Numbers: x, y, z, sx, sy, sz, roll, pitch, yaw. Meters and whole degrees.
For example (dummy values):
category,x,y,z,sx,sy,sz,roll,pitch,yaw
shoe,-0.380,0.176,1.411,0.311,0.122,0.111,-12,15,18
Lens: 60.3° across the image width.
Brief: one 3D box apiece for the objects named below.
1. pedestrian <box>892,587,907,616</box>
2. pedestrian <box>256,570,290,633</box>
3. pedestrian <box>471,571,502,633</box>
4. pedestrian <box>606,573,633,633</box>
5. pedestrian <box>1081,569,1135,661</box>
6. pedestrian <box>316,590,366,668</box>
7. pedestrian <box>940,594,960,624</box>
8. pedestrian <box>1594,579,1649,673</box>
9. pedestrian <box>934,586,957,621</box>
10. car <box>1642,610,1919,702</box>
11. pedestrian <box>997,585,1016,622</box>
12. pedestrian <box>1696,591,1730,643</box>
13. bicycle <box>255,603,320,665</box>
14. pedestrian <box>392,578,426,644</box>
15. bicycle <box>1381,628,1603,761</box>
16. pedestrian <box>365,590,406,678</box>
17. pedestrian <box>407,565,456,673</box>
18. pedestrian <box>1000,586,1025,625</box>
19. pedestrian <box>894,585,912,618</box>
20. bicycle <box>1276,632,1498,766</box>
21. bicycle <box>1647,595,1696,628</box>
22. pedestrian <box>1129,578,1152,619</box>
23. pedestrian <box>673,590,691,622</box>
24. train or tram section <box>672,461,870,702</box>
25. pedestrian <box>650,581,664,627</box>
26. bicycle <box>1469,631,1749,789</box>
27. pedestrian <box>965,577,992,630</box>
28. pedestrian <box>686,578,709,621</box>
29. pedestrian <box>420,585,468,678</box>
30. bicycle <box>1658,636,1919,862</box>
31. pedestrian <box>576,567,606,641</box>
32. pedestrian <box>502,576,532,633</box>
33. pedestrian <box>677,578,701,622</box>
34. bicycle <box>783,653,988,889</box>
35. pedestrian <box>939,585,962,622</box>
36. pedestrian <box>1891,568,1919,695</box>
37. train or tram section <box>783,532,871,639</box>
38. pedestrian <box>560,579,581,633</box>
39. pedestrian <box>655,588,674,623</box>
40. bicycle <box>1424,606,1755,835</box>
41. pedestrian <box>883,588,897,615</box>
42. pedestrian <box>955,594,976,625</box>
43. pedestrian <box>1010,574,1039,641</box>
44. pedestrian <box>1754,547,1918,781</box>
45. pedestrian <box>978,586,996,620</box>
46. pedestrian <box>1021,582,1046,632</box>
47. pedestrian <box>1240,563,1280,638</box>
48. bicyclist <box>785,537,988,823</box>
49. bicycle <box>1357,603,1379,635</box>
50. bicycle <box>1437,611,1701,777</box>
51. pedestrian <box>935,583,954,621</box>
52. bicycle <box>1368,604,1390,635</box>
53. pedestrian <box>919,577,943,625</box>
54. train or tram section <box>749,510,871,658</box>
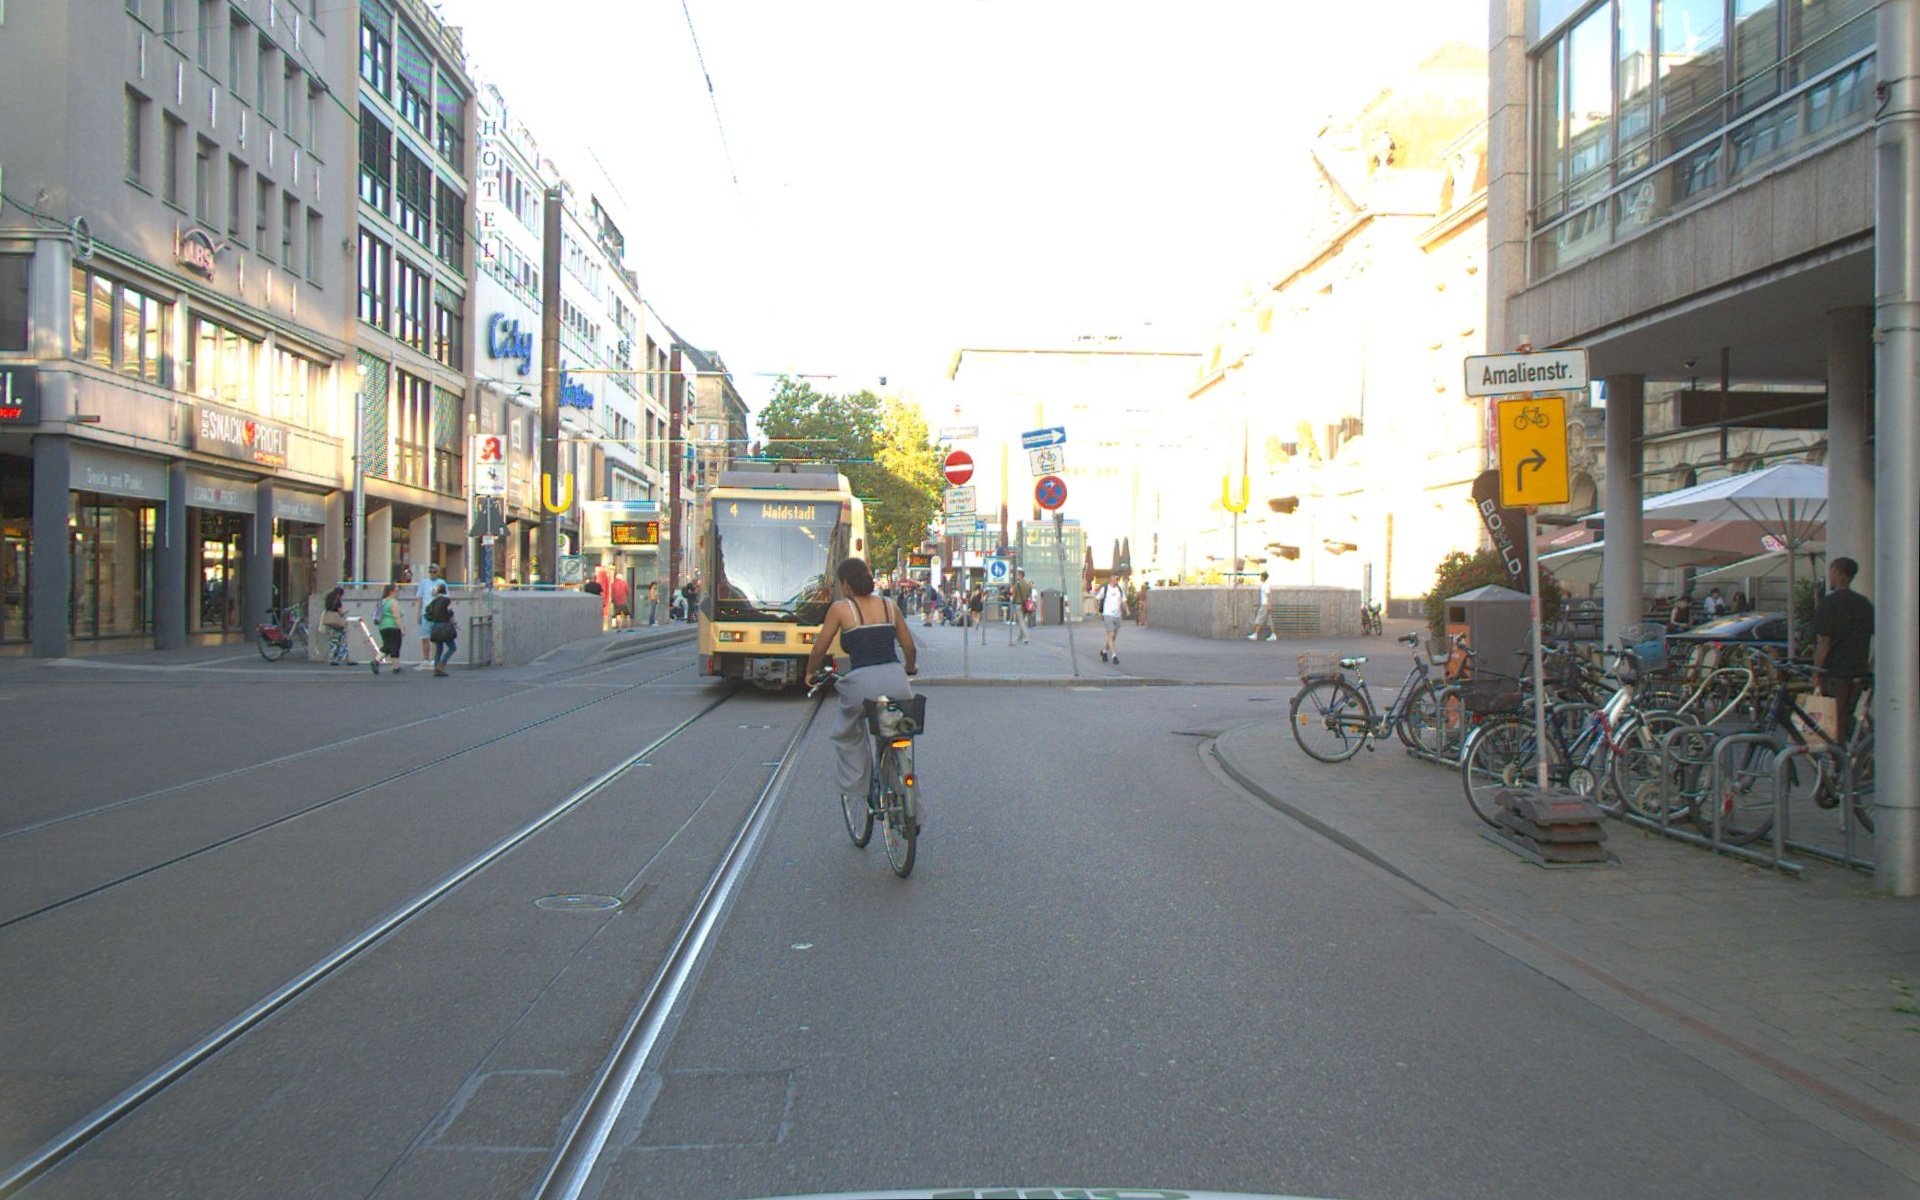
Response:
category,x,y,z,sx,sy,sz,roll,pitch,yaw
pedestrian,-3.569,0.092,97.993,0.775,1.690,0.770,0,0,9
pedestrian,-19.405,0.038,46.724,0.699,1.756,0.709,0,-1,-5
pedestrian,-13.375,0.056,46.754,0.595,1.756,0.624,-1,-1,44
pedestrian,-9.766,0.093,47.467,0.700,1.727,0.784,0,-1,-9
pedestrian,3.093,0.311,34.728,0.993,1.896,1.042,1,0,-1
pedestrian,-11.749,0.553,31.401,0.544,1.459,0.683,0,-1,35
pedestrian,-0.413,0.361,68.315,0.777,1.243,0.768,0,0,-7
pedestrian,13.273,0.515,33.185,0.792,1.855,0.806,0,1,1
pedestrian,-0.664,0.160,75.900,0.752,1.606,0.794,0,0,26
car,13.779,0.923,27.733,3.959,1.434,1.774,1,-1,-4
pedestrian,2.149,0.145,76.006,0.775,1.690,0.770,0,0,9
pedestrian,20.073,0.444,44.090,0.581,1.331,0.581,1,2,-7
bicycle,-13.270,0.652,32.670,0.488,1.127,1.801,0,2,2
pedestrian,-14.815,0.293,44.447,0.699,1.756,0.709,0,-1,-5
bicycle,4.866,0.851,15.176,1.816,1.128,0.666,-1,0,-6
pedestrian,-10.065,0.594,28.993,0.592,1.520,0.554,0,-1,-11
pedestrian,-9.688,0.346,30.339,0.759,1.960,0.707,0,-1,-11
pedestrian,2.297,0.234,72.583,0.763,1.690,0.782,0,0,-44
pedestrian,-2.875,0.081,83.961,0.750,1.690,0.795,0,0,9
bicycle,3.851,0.880,14.978,1.816,1.128,0.666,-1,0,-6
bicycle,20.594,0.329,47.893,1.293,0.909,0.410,-1,1,-8
pedestrian,8.228,-0.064,75.286,0.833,1.855,0.773,0,0,-14
pedestrian,-12.203,0.282,72.591,0.693,1.403,0.720,0,-1,-4
train or tram section,-3.056,-0.305,30.594,2.744,3.377,14.499,0,0,-3
pedestrian,-10.908,0.161,59.538,0.502,1.646,0.504,0,-1,-12
bicycle,5.018,0.830,12.842,1.879,1.096,0.762,-2,0,-8
pedestrian,0.651,0.109,58.427,0.722,1.855,0.816,0,0,-17
pedestrian,-10.680,-0.013,67.311,0.700,1.756,0.767,1,-1,-32
pedestrian,-8.809,0.529,28.262,0.671,1.569,0.604,0,-1,-8
bicycle,5.221,0.838,9.704,1.958,1.175,0.724,-2,0,-8
pedestrian,-9.879,0.103,44.265,0.700,1.959,0.708,0,-1,-8
pedestrian,-12.635,0.129,47.161,0.595,1.616,0.624,-1,-1,45
pedestrian,-10.719,0.005,65.485,0.701,1.756,0.766,1,-1,-34
bicycle,-0.485,0.909,9.452,0.801,1.092,2.107,2,0,-12
pedestrian,-0.412,0.154,71.798,0.752,1.606,0.794,0,0,26
pedestrian,14.506,0.477,24.560,0.787,1.871,0.873,2,0,-3
train or tram section,-4.589,-0.518,59.566,2.744,3.377,14.499,0,0,-3
pedestrian,-11.725,0.183,49.856,0.592,1.616,0.626,0,-1,-12
pedestrian,-12.017,0.217,67.262,0.693,1.403,0.720,0,-1,-4
bicycle,4.084,0.753,10.791,1.879,1.356,0.724,-2,0,-8
pedestrian,-4.367,0.089,103.382,0.750,1.690,0.795,0,0,6
pedestrian,0.215,0.371,67.543,0.777,1.243,0.768,0,0,-7
pedestrian,1.718,0.193,43.942,0.704,1.756,0.709,0,-1,-4
pedestrian,6.788,0.481,12.855,0.748,1.749,0.923,-1,0,-2
pedestrian,1.359,0.149,83.627,0.775,1.690,0.770,0,0,9
pedestrian,2.772,0.252,62.415,0.758,1.855,0.939,-1,0,-6
pedestrian,8.246,0.012,45.486,0.896,2.049,0.772,1,0,-2
bicyclist,-0.436,0.438,9.376,0.979,1.528,0.854,2,0,-12
bicycle,11.748,0.545,47.644,0.309,0.882,0.999,-1,0,-4
bicycle,4.986,0.745,13.587,1.879,1.244,0.762,-2,0,-8
pedestrian,-0.713,0.090,75.712,0.775,1.690,0.770,0,0,9
bicycle,12.067,0.551,47.663,0.309,0.882,0.999,-1,0,-4
pedestrian,-1.129,0.047,64.444,0.722,1.855,0.816,0,0,-17
train or tram section,-3.819,-0.412,45.075,2.744,3.377,14.499,0,0,-3
